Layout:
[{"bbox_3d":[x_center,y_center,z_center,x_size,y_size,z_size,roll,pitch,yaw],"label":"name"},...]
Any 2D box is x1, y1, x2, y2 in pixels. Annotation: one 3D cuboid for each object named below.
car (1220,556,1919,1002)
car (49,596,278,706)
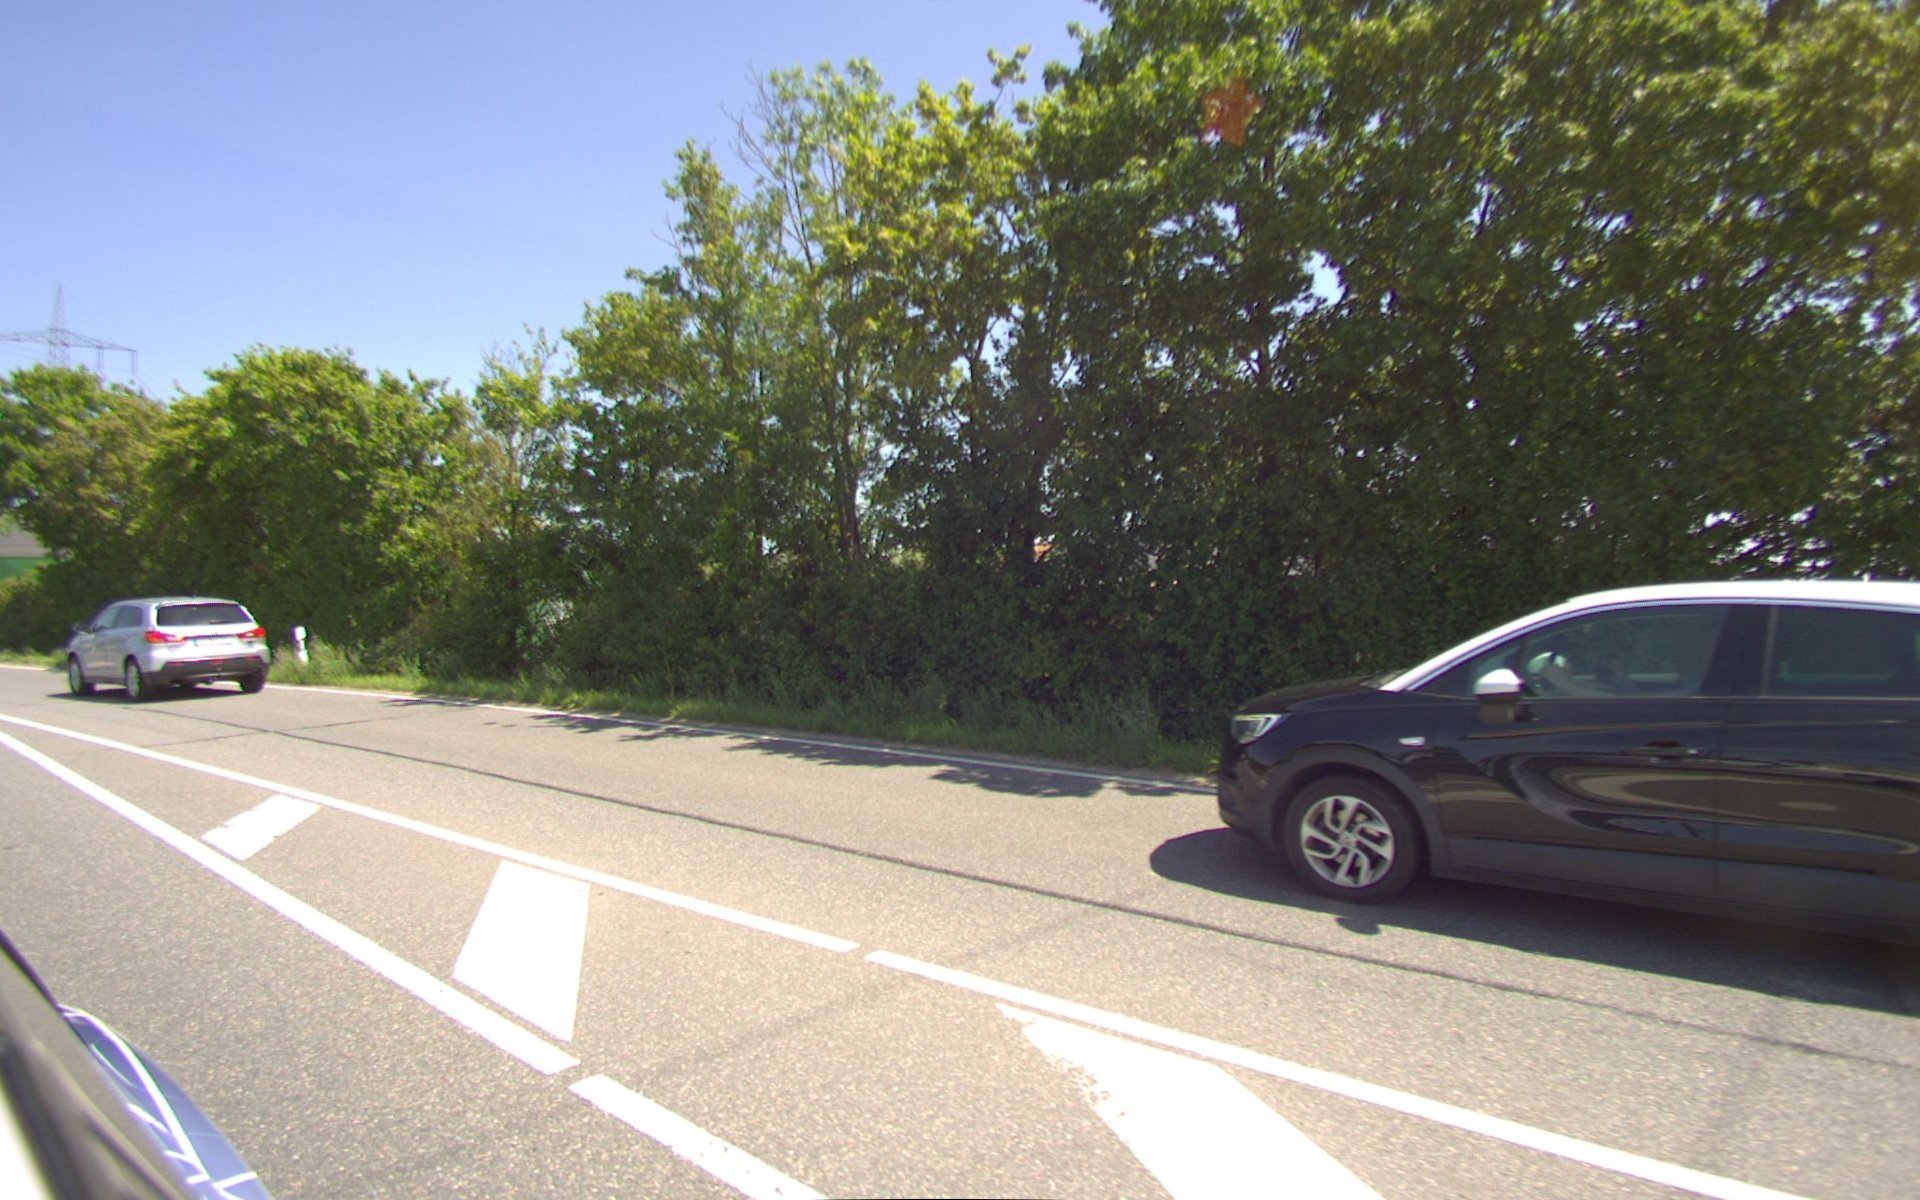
[{"bbox_3d":[3.431,0.642,4.720,3.950,1.602,1.717,-1,0,37],"label":"car"},{"bbox_3d":[-13.272,0.771,16.811,3.987,1.601,1.728,-1,1,32],"label":"car"}]
